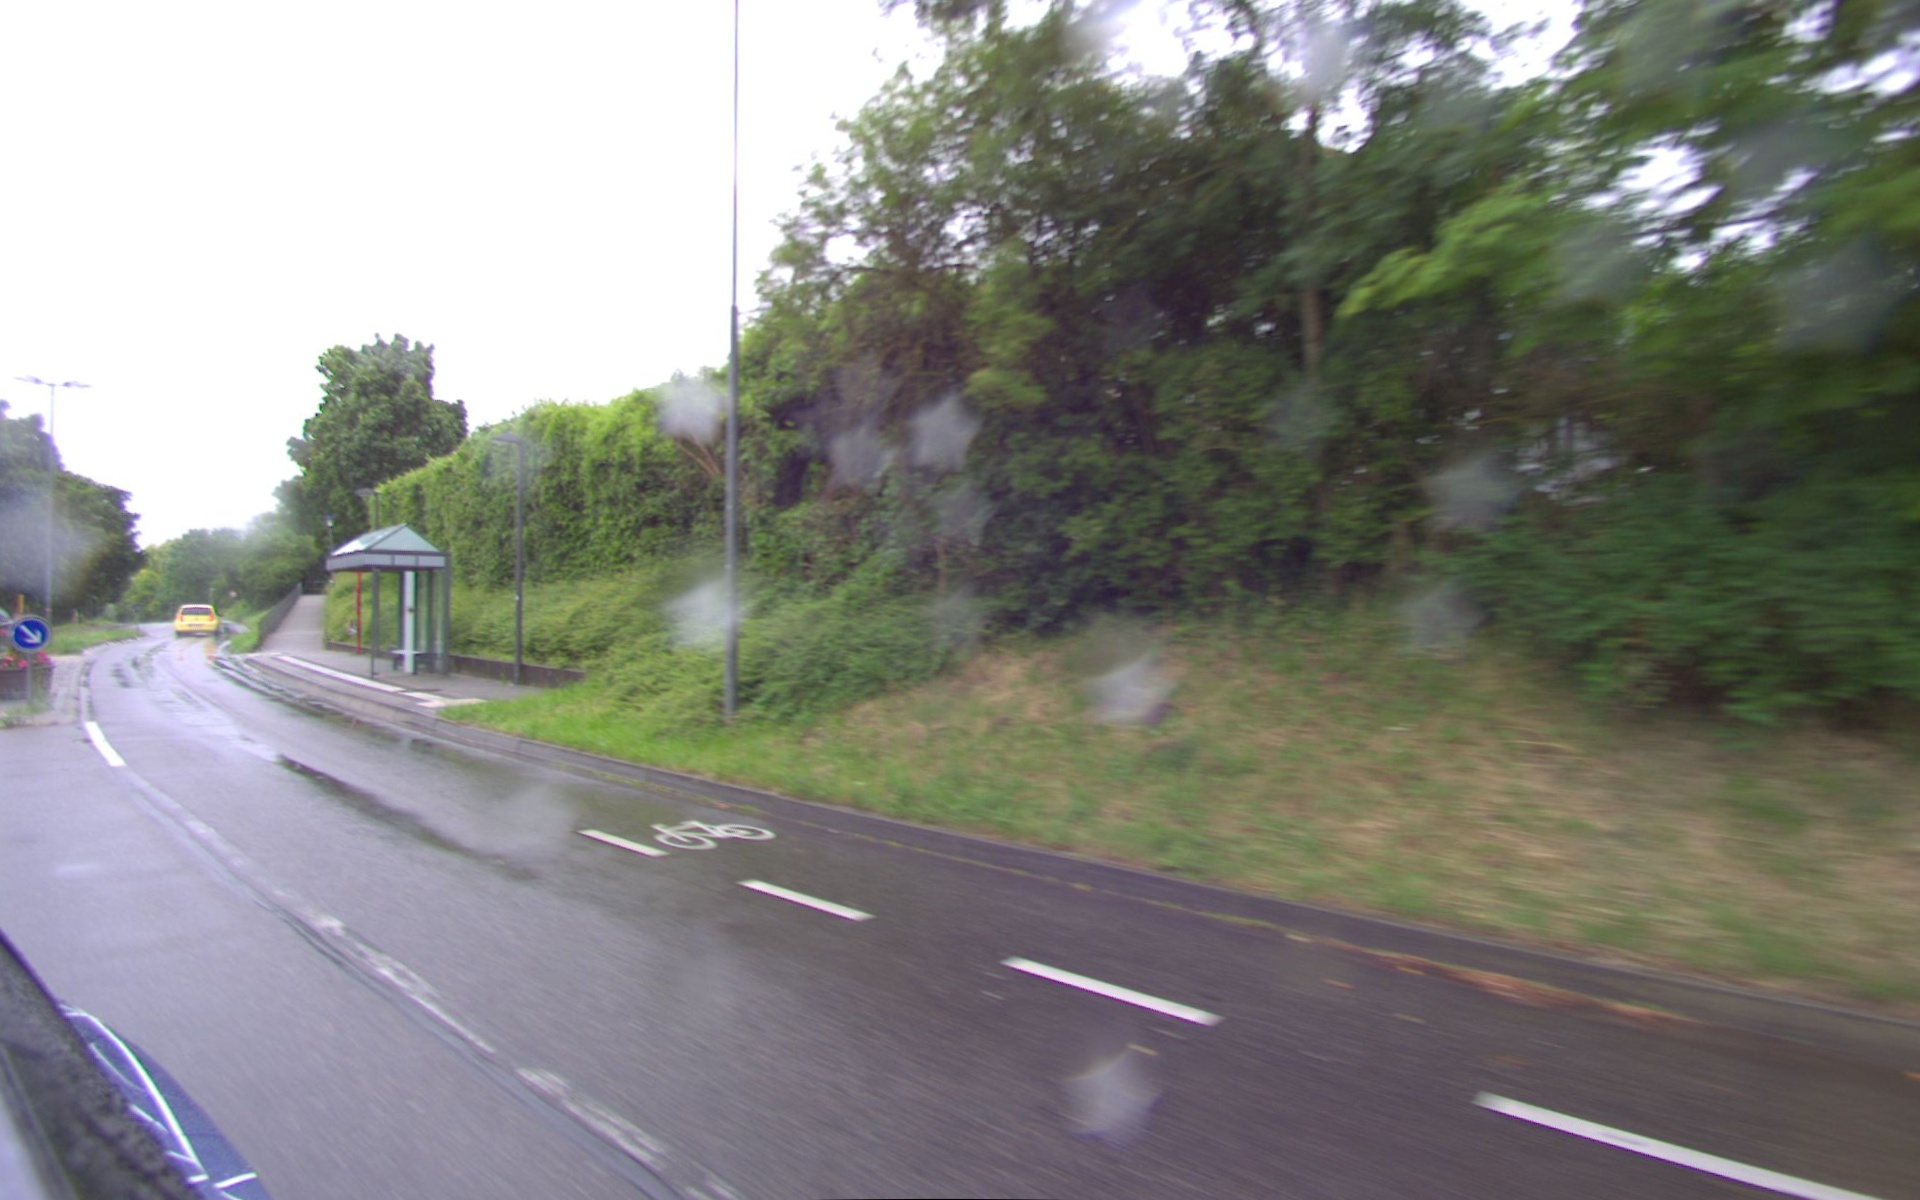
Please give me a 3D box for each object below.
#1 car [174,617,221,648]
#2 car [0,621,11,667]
[{"bbox_3d":[-36.626,1.533,48.651,1.551,1.421,3.483,2,-2,-33],"label":"car"},{"bbox_3d":[-31.795,1.410,32.245,1.737,1.497,3.799,1,-3,-35],"label":"car"}]
